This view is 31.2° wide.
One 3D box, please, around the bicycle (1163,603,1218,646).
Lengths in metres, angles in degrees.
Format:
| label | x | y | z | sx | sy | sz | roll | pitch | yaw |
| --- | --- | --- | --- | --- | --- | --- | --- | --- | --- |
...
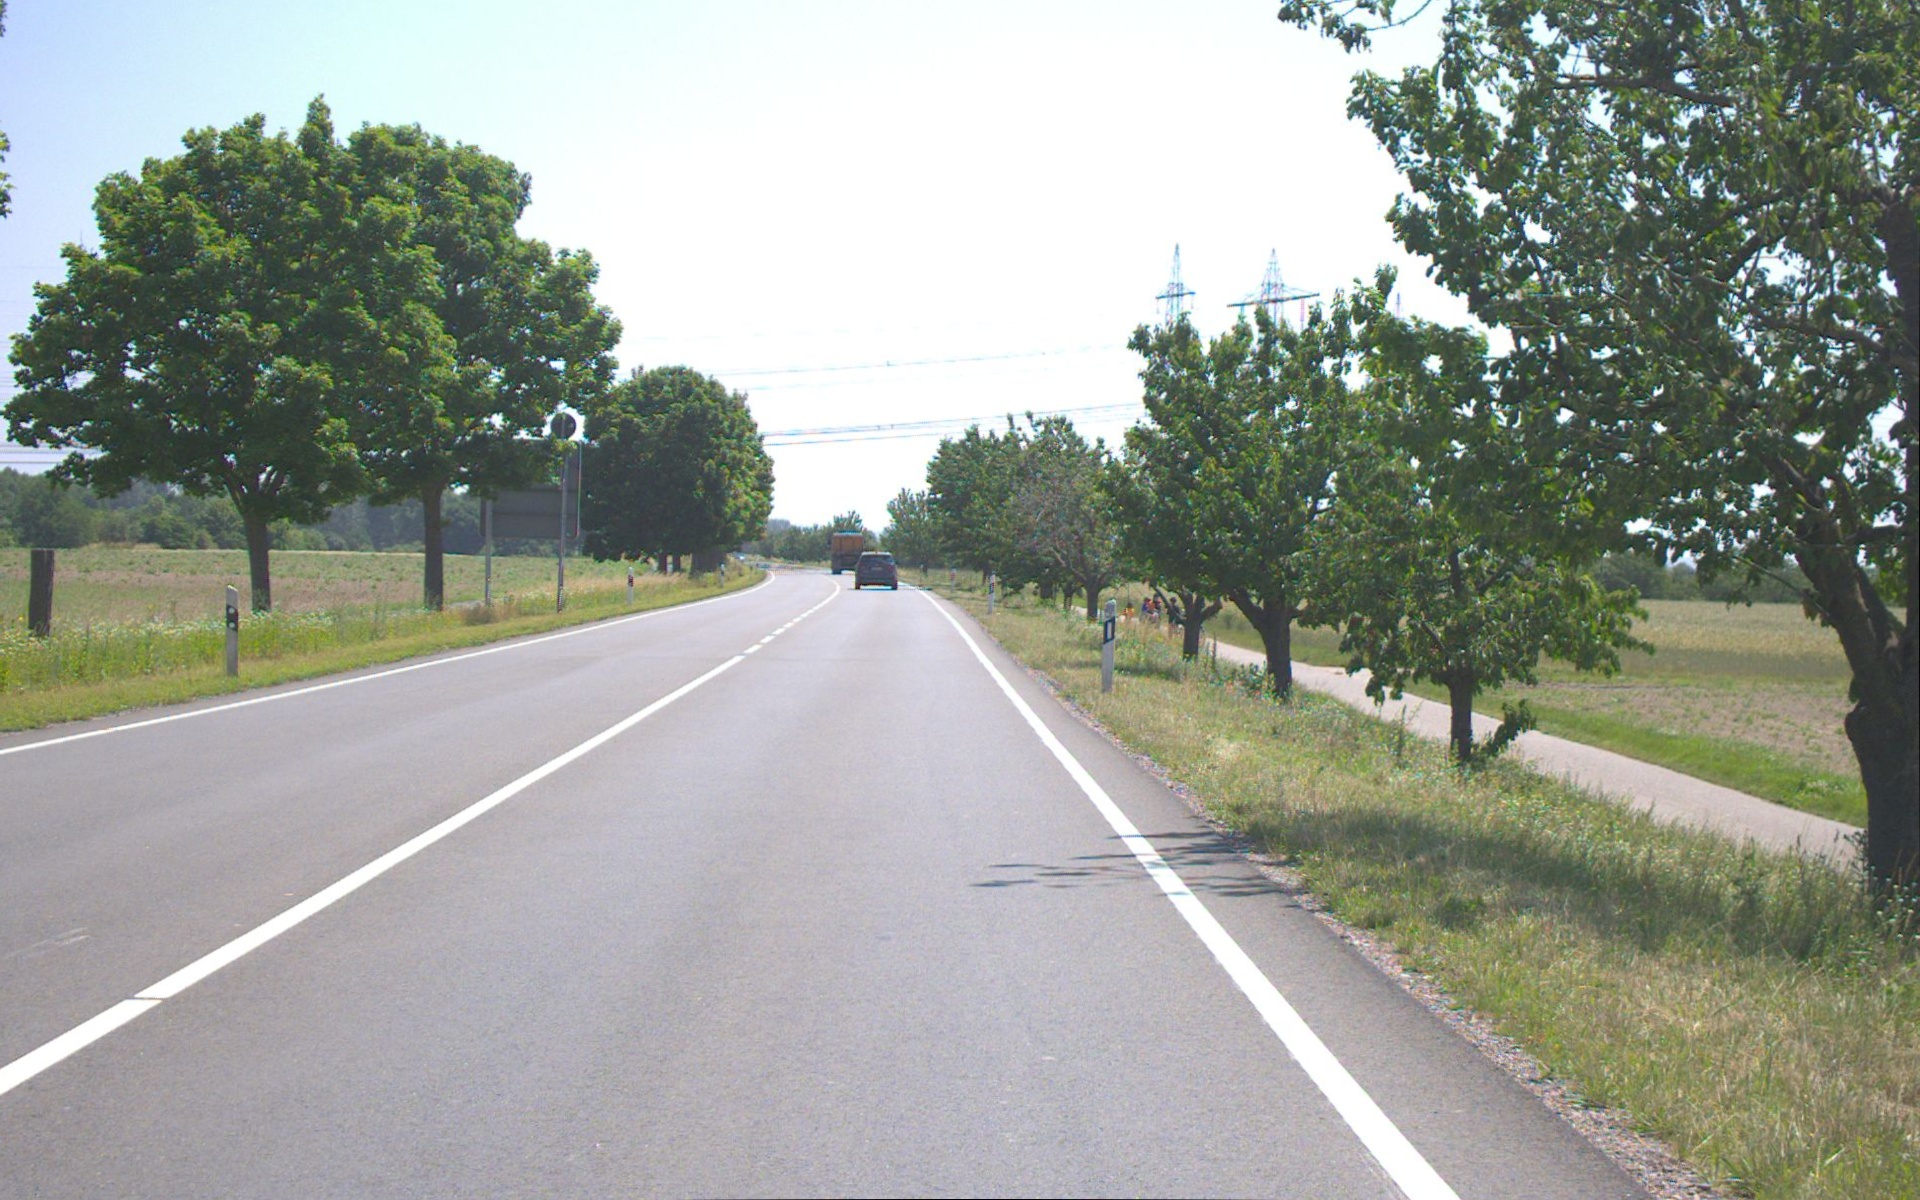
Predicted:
| label | x | y | z | sx | sy | sz | roll | pitch | yaw |
| --- | --- | --- | --- | --- | --- | --- | --- | --- | --- |
| bicycle | 7.036 | 0.746 | 105.038 | 1.218 | 1.161 | 2.436 | 4 | 1 | -5 |

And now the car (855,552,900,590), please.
| label | x | y | z | sx | sy | sz | roll | pitch | yaw |
| --- | --- | --- | --- | --- | --- | --- | --- | --- | --- |
| car | -3.679 | -1.297 | 152.941 | 1.884 | 1.513 | 4.040 | 4 | 1 | -1 |

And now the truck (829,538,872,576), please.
| label | x | y | z | sx | sy | sz | roll | pitch | yaw |
| --- | --- | --- | --- | --- | --- | --- | --- | --- | --- |
| truck | -8.406 | -3.329 | 264.737 | 3.172 | 2.851 | 9.514 | 1 | 1 | -1 |

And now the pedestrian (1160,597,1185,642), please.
| label | x | y | z | sx | sy | sz | roll | pitch | yaw |
| --- | --- | --- | --- | --- | --- | --- | --- | --- | --- |
| pedestrian | 6.694 | 0.603 | 108.370 | 0.555 | 1.366 | 0.604 | 4 | 1 | -9 |

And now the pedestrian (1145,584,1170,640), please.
| label | x | y | z | sx | sy | sz | roll | pitch | yaw |
| --- | --- | --- | --- | --- | --- | --- | --- | --- | --- |
| pedestrian | 6.273 | 0.388 | 109.185 | 0.555 | 1.715 | 0.604 | 4 | 1 | -9 |

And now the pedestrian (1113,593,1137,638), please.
| label | x | y | z | sx | sy | sz | roll | pitch | yaw |
| --- | --- | --- | --- | --- | --- | --- | --- | --- | --- |
| pedestrian | 5.180 | 0.499 | 108.217 | 0.555 | 1.366 | 0.604 | 4 | 1 | -9 |
